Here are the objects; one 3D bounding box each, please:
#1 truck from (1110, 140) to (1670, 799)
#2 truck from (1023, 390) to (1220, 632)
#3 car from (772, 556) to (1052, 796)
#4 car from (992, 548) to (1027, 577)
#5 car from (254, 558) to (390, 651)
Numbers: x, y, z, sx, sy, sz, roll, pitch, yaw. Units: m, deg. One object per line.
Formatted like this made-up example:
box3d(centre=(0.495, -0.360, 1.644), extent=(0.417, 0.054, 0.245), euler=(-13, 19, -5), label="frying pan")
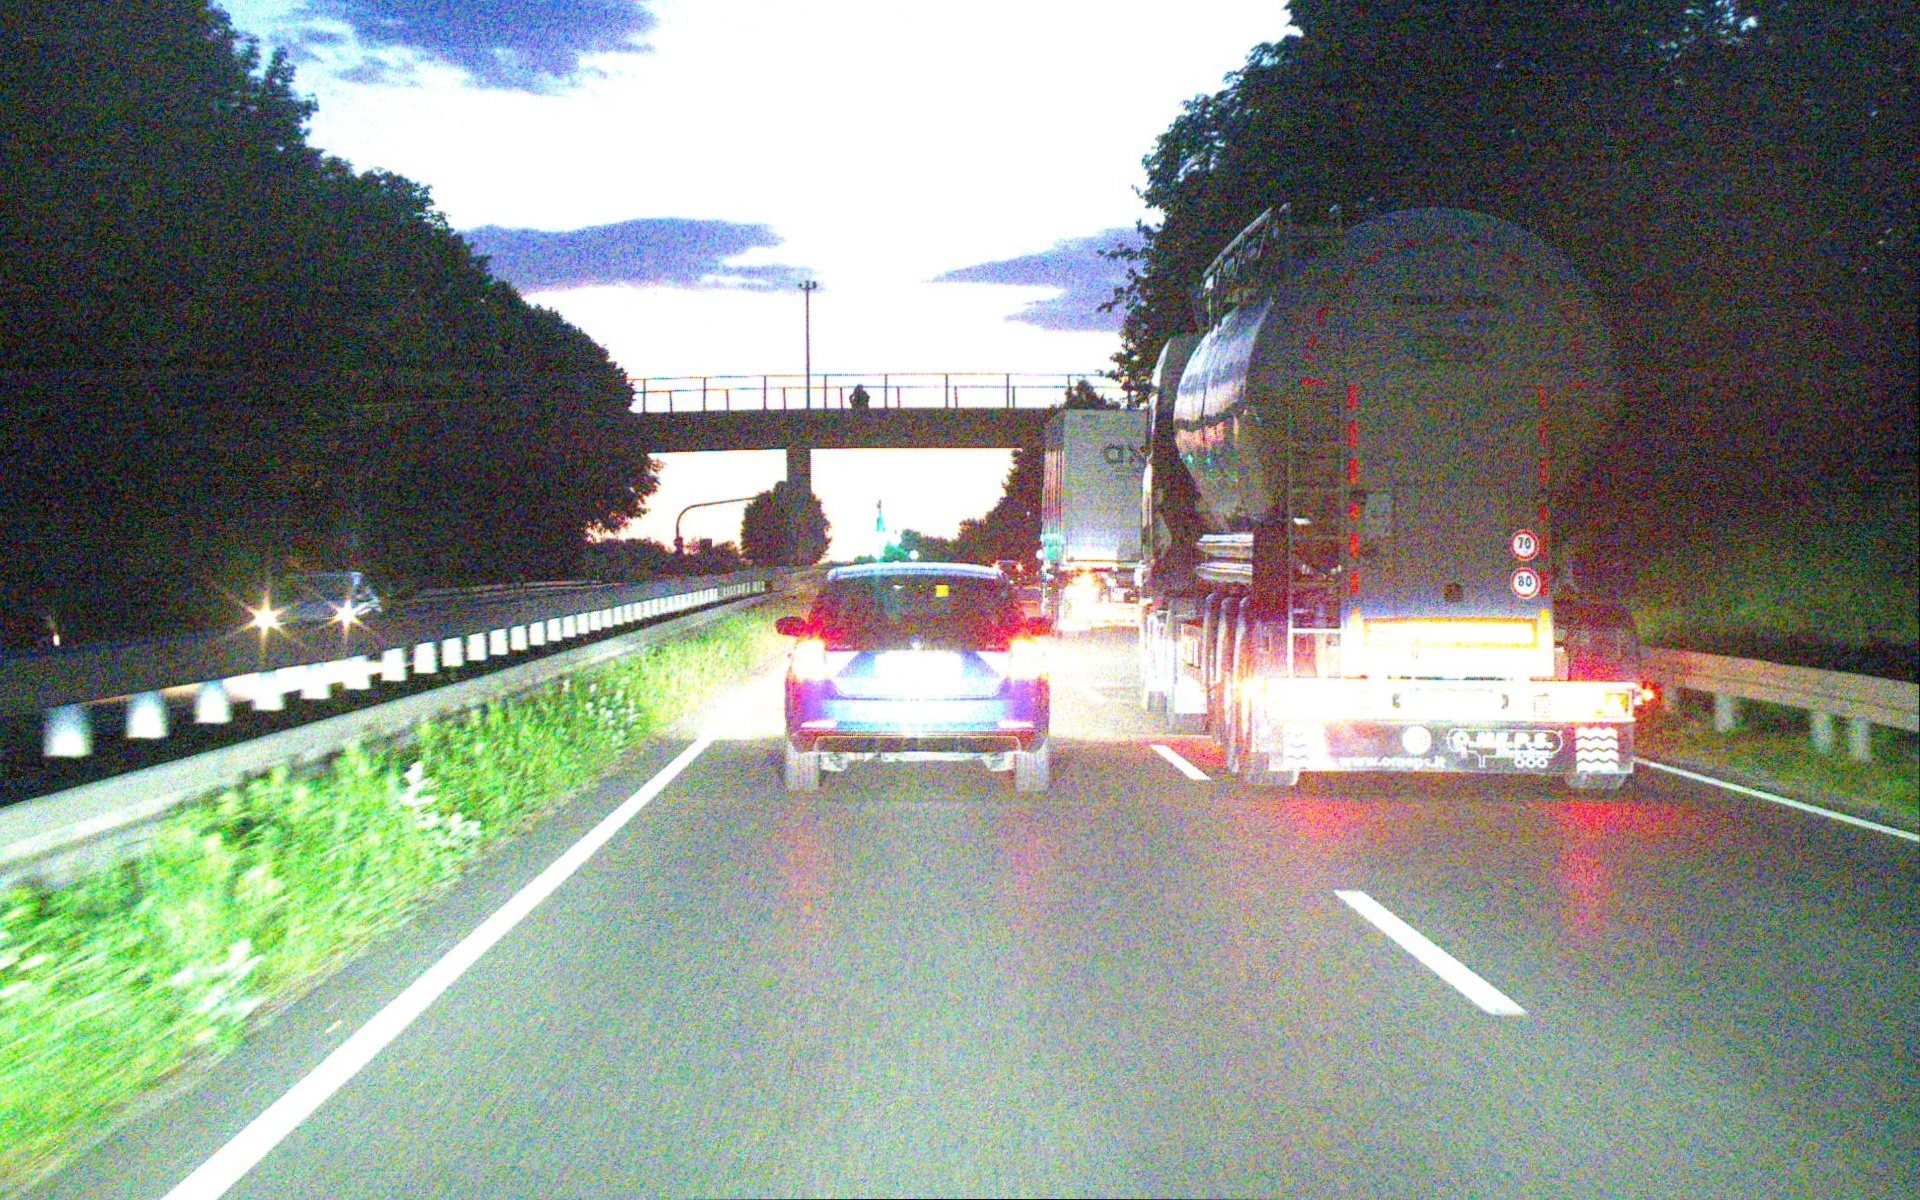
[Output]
box3d(centre=(2.979, -0.953, 28.104), extent=(2.687, 4.092, 13.142), euler=(1, 1, -1), label="truck")
box3d(centre=(2.871, -1.571, 64.937), extent=(2.883, 4.092, 12.684), euler=(1, 0, -1), label="truck")
box3d(centre=(-0.320, 0.450, 22.946), extent=(1.695, 1.447, 3.914), euler=(1, 0, -1), label="car")
box3d(centre=(2.560, -1.944, 178.734), extent=(1.695, 1.447, 3.914), euler=(1, 0, -1), label="car")
box3d(centre=(-10.778, 0.063, 58.275), extent=(1.617, 1.502, 3.869), euler=(1, 0, -1), label="car")
